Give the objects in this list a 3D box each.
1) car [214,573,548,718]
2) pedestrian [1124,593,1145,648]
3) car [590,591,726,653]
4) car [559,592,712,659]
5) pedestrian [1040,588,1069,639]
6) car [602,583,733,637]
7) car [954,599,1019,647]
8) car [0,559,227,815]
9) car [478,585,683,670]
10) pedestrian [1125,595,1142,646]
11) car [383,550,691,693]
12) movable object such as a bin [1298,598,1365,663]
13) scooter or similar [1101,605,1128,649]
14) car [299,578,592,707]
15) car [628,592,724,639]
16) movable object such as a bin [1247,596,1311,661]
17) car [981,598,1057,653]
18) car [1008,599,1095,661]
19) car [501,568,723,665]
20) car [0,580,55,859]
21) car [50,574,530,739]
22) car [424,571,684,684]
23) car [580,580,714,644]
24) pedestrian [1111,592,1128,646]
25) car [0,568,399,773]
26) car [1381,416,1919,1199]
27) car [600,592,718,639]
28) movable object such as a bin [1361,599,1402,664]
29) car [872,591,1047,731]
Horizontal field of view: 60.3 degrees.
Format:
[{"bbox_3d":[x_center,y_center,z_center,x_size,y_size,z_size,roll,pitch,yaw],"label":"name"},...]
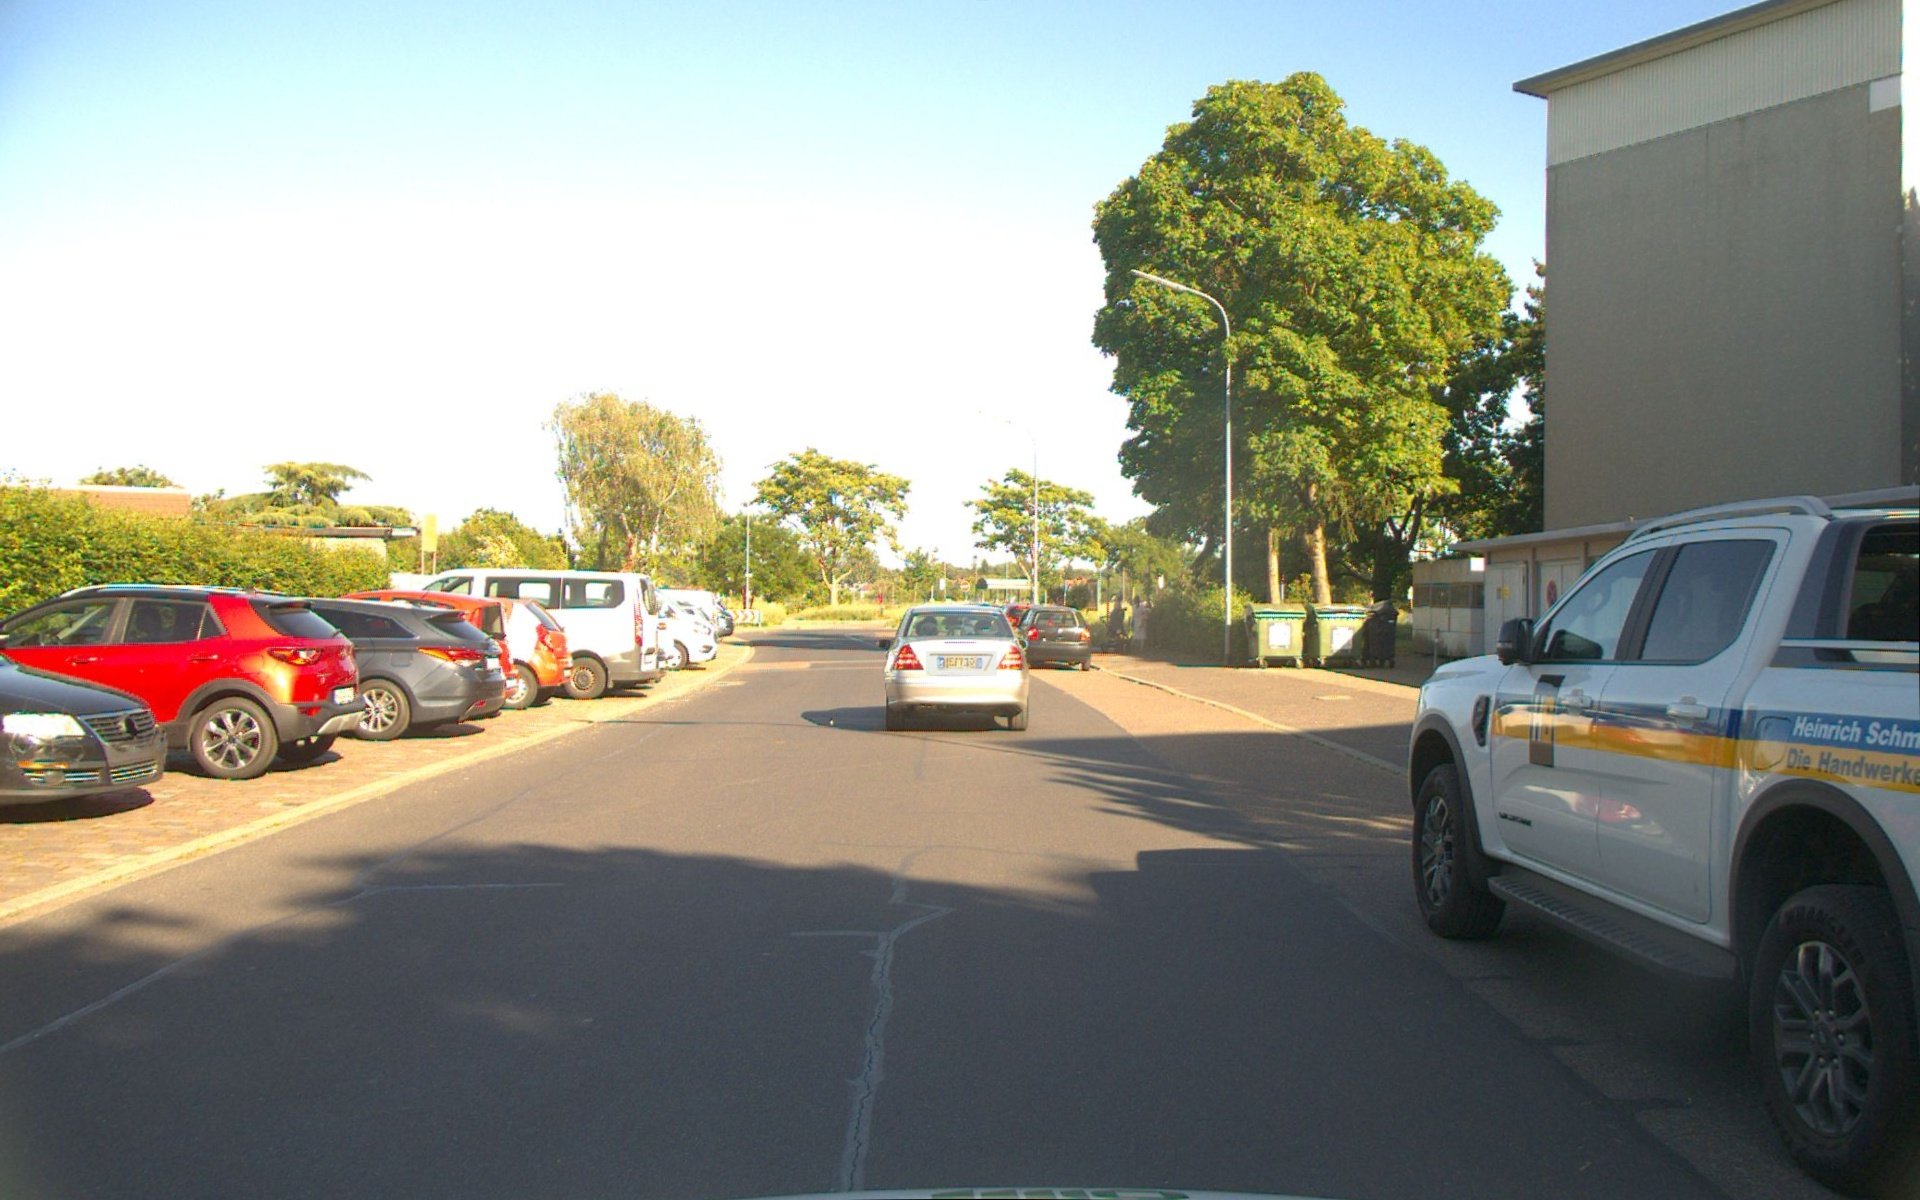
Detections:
[{"bbox_3d":[-7.268,0.548,21.055,3.529,1.594,1.881,3,0,-1],"label":"car"},{"bbox_3d":[5.069,0.591,47.960,0.476,1.592,0.468,-1,-2,-9],"label":"pedestrian"},{"bbox_3d":[-8.312,0.604,45.771,3.444,1.515,1.636,3,0,-3],"label":"car"},{"bbox_3d":[-8.001,0.637,40.958,3.444,1.471,1.635,3,-1,-3],"label":"car"},{"bbox_3d":[2.984,0.428,52.107,0.772,1.592,0.569,3,-1,-6],"label":"pedestrian"},{"bbox_3d":[-11.078,0.393,62.763,4.783,1.949,1.995,1,-1,-10],"label":"car"},{"bbox_3d":[0.884,0.794,57.060,1.698,1.570,3.782,1,-1,-7],"label":"car"},{"bbox_3d":[-7.291,0.466,10.957,3.939,1.539,1.905,3,-1,-3],"label":"car"},{"bbox_3d":[-8.092,0.591,35.542,3.907,1.610,1.883,3,-1,-2],"label":"car"},{"bbox_3d":[5.201,0.623,49.541,0.354,1.529,0.500,-1,-2,-8],"label":"pedestrian"},{"bbox_3d":[-6.716,0.349,26.692,4.389,2.011,1.999,3,-1,-3],"label":"car"},{"bbox_3d":[8.413,0.694,37.461,1.249,1.440,0.950,1,-1,-4],"label":"movable object such as a bin"},{"bbox_3d":[4.481,0.774,47.956,0.611,1.249,0.904,0,-1,-6],"label":"scooter or similar"},{"bbox_3d":[-7.244,0.577,23.561,3.529,1.594,1.852,3,0,-1],"label":"car"},{"bbox_3d":[-11.188,0.613,65.250,3.542,1.635,1.731,3,-1,-6],"label":"car"},{"bbox_3d":[7.190,0.640,37.354,1.213,1.428,0.914,1,-1,-4],"label":"movable object such as a bin"},{"bbox_3d":[1.646,0.723,47.247,1.545,1.472,3.782,1,-1,-7],"label":"car"},{"bbox_3d":[2.147,0.708,39.867,1.615,1.427,3.878,0,-1,-4],"label":"car"},{"bbox_3d":[-7.962,0.392,38.234,4.695,1.954,2.079,3,-1,-5],"label":"car"},{"bbox_3d":[-7.236,0.559,8.549,4.011,1.539,1.811,3,-1,-3],"label":"car"},{"bbox_3d":[-7.174,0.583,18.040,4.452,1.505,1.747,3,0,-1],"label":"car"},{"bbox_3d":[-7.086,0.488,29.190,4.068,1.736,1.883,3,-1,-2],"label":"car"},{"bbox_3d":[-9.566,0.350,50.770,3.903,1.811,1.922,2,0,-9],"label":"car"},{"bbox_3d":[4.720,0.564,49.078,0.471,1.592,0.597,-1,-2,5],"label":"pedestrian"},{"bbox_3d":[-7.073,0.541,14.113,3.906,1.505,1.790,3,0,-1],"label":"car"},{"bbox_3d":[3.182,0.517,5.768,1.868,1.872,5.273,3,0,-2],"label":"car"},{"bbox_3d":[-10.892,0.577,60.094,4.059,1.518,1.922,2,-1,-7],"label":"car"},{"bbox_3d":[9.505,0.717,37.305,0.709,1.440,0.688,1,-1,-4],"label":"movable object such as a bin"},{"bbox_3d":[-0.114,0.666,20.361,1.781,1.489,4.356,2,0,-5],"label":"car"}]
